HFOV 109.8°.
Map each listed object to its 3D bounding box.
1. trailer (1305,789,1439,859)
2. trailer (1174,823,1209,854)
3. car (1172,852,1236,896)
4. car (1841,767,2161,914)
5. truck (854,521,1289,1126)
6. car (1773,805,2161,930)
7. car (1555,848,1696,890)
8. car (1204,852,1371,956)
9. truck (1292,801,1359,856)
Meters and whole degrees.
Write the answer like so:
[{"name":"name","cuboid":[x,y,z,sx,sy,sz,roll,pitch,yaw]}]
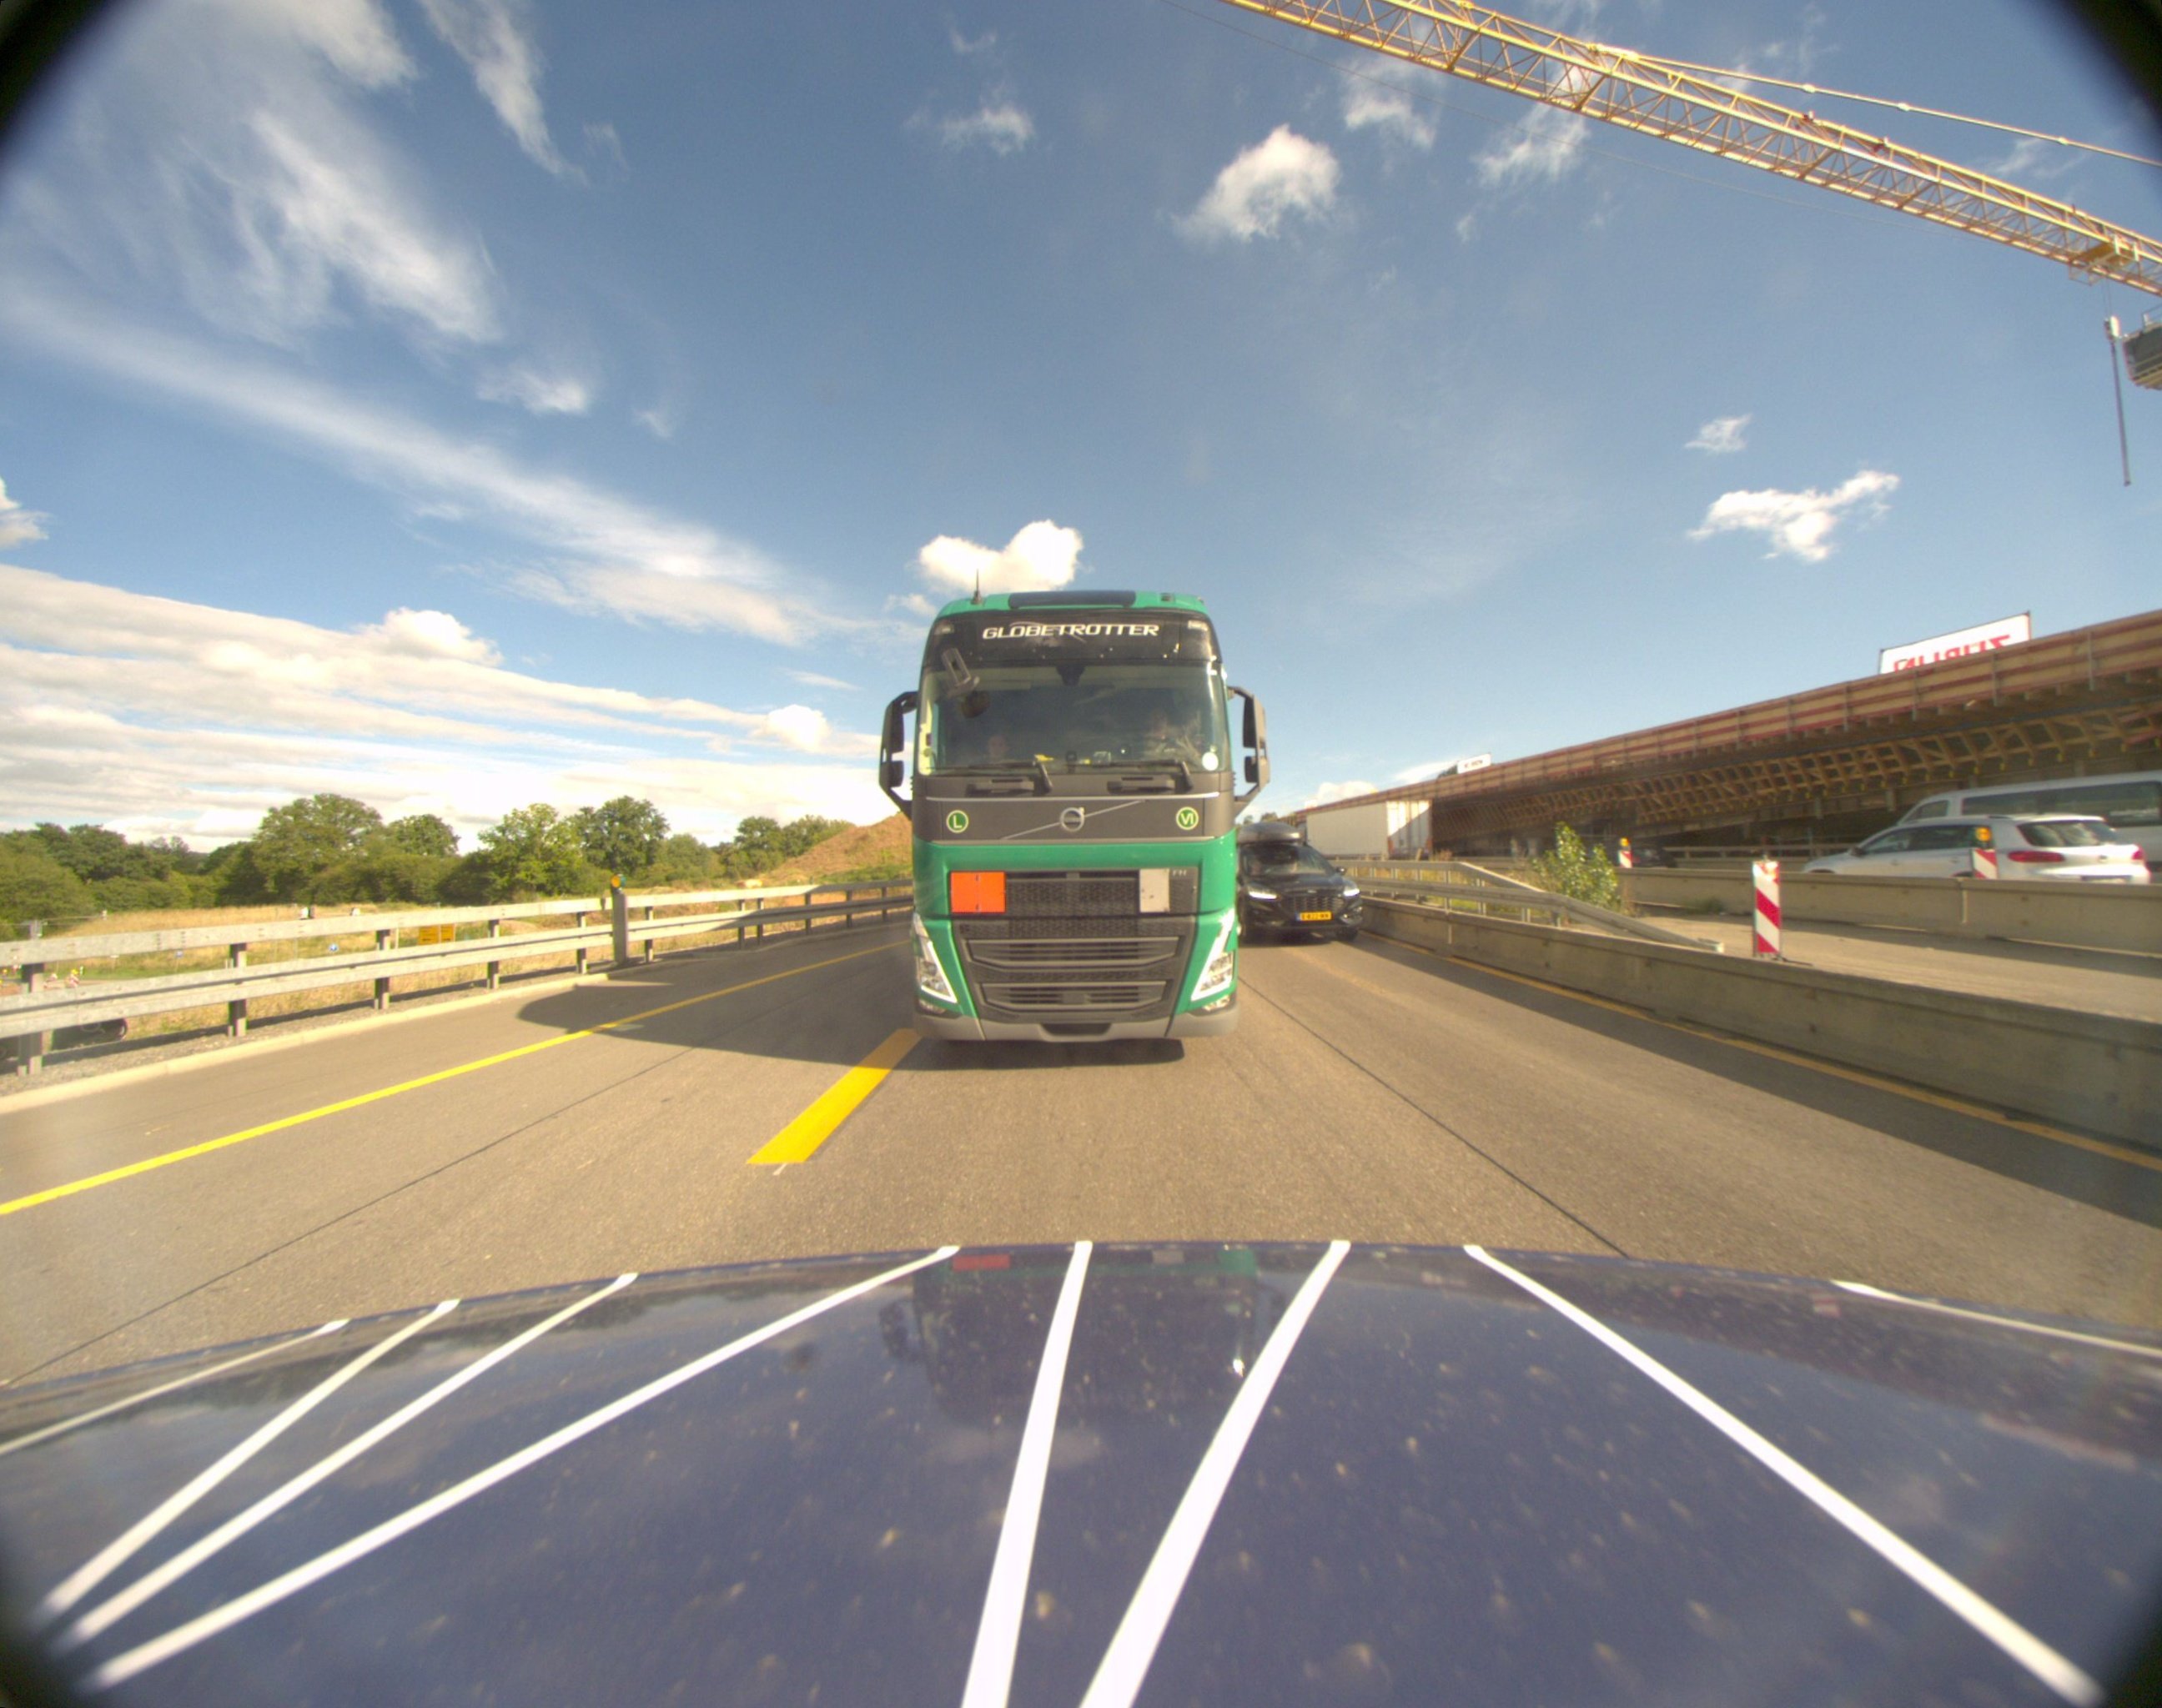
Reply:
[{"name":"trailer","cuboid":[18.263,-1.763,49.218,2.828,3.819,13.798,-2,1,-2]},{"name":"trailer","cuboid":[16.116,-2.255,112.158,2.694,4.132,13.807,-2,1,-1]},{"name":"car","cuboid":[4.679,0.718,29.464,1.948,1.422,4.505,-3,1,3]},{"name":"car","cuboid":[18.794,-0.309,14.824,2.263,2.389,5.867,-2,1,3]},{"name":"truck","cuboid":[-0.112,-0.264,10.098,2.664,3.825,10.314,-2,1,-1]},{"name":"car","cuboid":[14.561,0.197,12.859,2.130,1.664,4.275,-3,0,8]},{"name":"car","cuboid":[18.869,0.457,26.565,1.925,1.265,3.998,-2,1,-3]},{"name":"car","cuboid":[3.480,0.747,13.691,1.804,1.533,4.384,-1,0,0]},{"name":"truck","cuboid":[18.004,-1.848,56.332,2.784,3.767,6.016,-2,1,-2]}]
